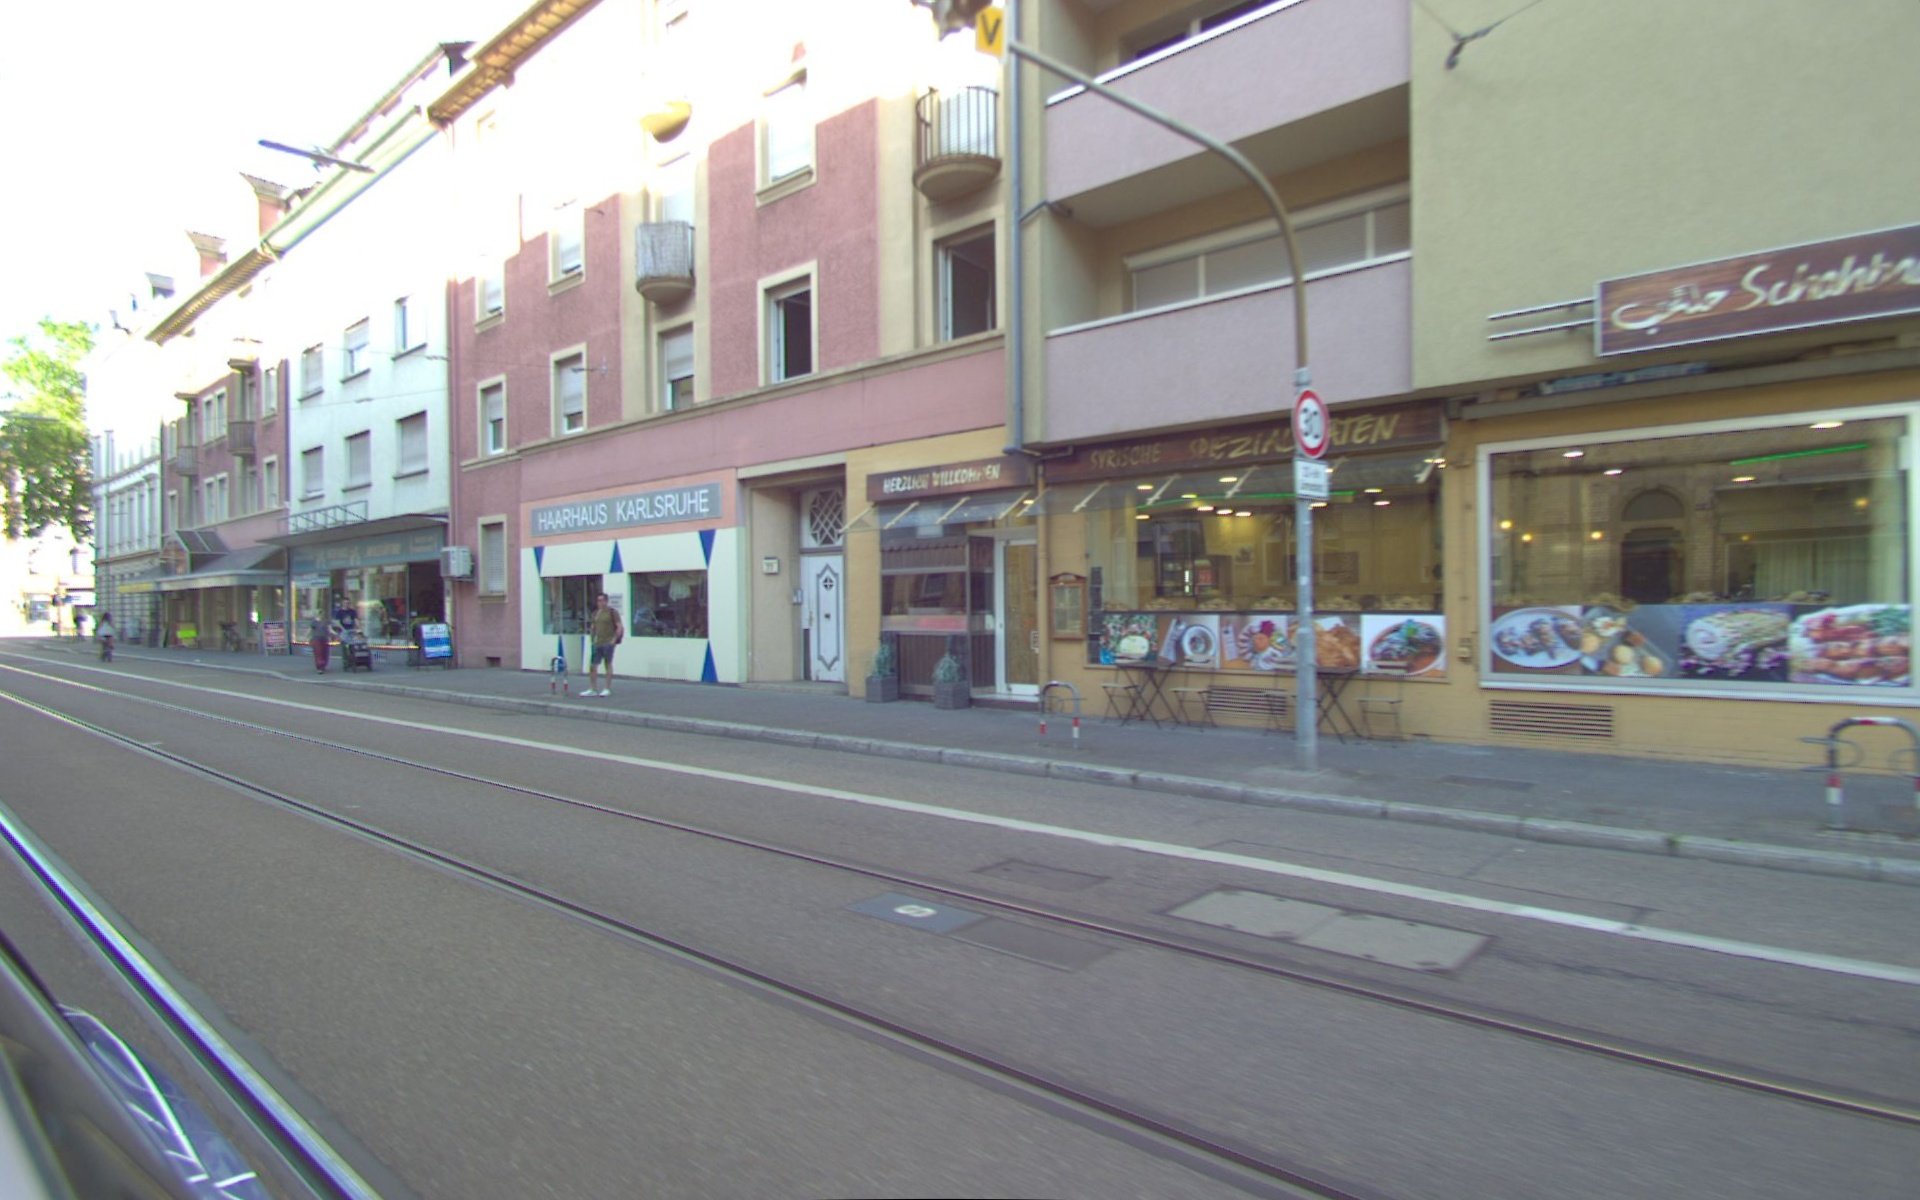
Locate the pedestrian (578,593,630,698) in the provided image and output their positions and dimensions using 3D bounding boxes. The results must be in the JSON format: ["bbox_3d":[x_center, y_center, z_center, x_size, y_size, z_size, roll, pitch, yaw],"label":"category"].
[{"bbox_3d":[-5.889,0.733,16.752,0.616,1.698,0.557,-1,0,40],"label":"pedestrian"}]

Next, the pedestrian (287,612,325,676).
[{"bbox_3d":[-16.470,1.097,25.500,0.623,1.560,0.629,-1,0,41],"label":"pedestrian"}]

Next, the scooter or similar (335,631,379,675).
[{"bbox_3d":[-15.478,1.353,25.968,1.104,1.069,0.655,-2,0,42],"label":"scooter or similar"}]

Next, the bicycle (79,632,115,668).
[{"bbox_3d":[-28.235,1.622,33.099,2.043,1.104,0.595,-1,-2,42],"label":"bicycle"}]

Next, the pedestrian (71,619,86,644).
[{"bbox_3d":[-67.169,2.396,77.095,0.809,1.861,0.784,-1,0,44],"label":"pedestrian"}]

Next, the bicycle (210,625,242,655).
[{"bbox_3d":[-26.985,1.450,37.185,2.328,1.067,0.420,-1,0,41],"label":"bicycle"}]

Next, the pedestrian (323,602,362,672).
[{"bbox_3d":[-16.258,0.966,26.647,0.820,1.803,0.619,-1,0,41],"label":"pedestrian"}]

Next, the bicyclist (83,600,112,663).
[{"bbox_3d":[-28.160,1.025,33.051,0.733,2.029,0.605,-1,0,41],"label":"bicyclist"}]
